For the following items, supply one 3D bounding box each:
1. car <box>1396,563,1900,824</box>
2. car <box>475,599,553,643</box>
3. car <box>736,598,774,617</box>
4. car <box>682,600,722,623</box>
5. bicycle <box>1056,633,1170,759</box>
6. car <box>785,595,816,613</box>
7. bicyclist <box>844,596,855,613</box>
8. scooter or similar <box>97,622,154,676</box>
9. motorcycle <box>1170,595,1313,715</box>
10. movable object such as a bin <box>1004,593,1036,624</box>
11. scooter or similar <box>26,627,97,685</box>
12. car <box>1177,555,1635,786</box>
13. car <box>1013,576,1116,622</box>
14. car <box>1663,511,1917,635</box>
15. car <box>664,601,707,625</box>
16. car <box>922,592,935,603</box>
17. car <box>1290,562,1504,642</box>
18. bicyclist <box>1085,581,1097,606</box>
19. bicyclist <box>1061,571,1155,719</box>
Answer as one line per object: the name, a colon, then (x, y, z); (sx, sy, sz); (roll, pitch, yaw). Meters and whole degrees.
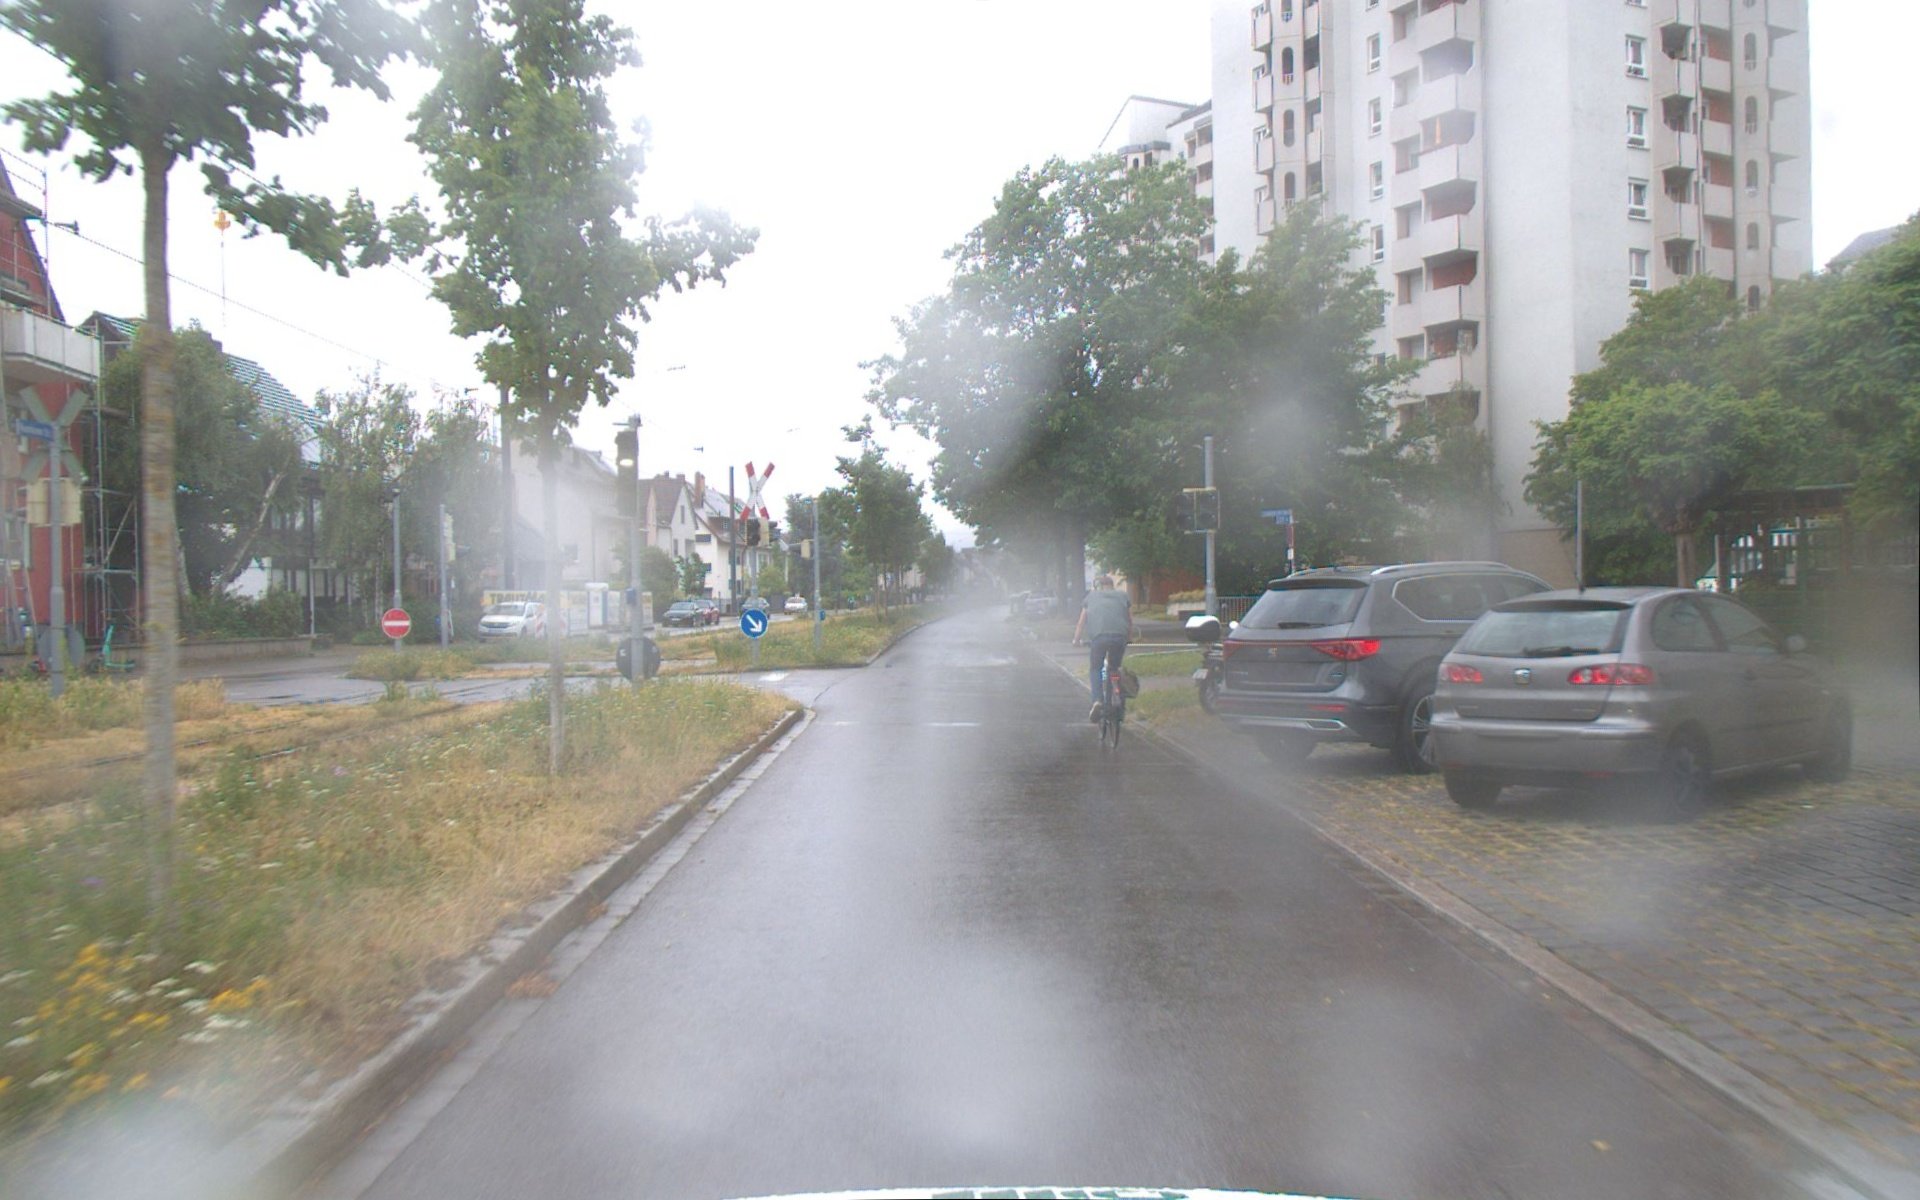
car: (4.922, 0.524, 11.586); (3.966, 1.453, 1.708); (-2, 1, -42)
car: (-17.198, 0.790, 64.020); (1.674, 1.569, 4.423); (1, 0, 2)
car: (-14.773, 0.540, 119.316); (1.857, 1.266, 4.690); (1, 0, 4)
car: (-15.371, 0.681, 98.595); (1.640, 1.266, 3.856); (1, 0, 2)
bicycle: (1.534, 0.942, 17.047); (0.793, 1.116, 2.516); (-2, 0, -3)
car: (-13.622, 0.318, 141.385); (1.857, 1.495, 4.690); (1, 0, 4)
bicyclist: (-11.821, 0.462, 176.763); (0.997, 1.715, 1.092); (-2, 0, 1)
scooter or similar: (-19.211, 1.118, 38.092); (0.385, 1.201, 1.284); (-1, 0, 15)
motorcycle: (3.503, 0.663, 20.513); (1.761, 1.360, 0.680); (-3, 1, -37)
movable object such as a bin: (3.125, 0.424, 86.841); (1.109, 1.482, 1.393); (-7, 2, -20)
scooter or similar: (-18.998, 1.174, 34.991); (0.432, 1.149, 1.280); (-1, 0, 30)
car: (4.039, 0.504, 14.582); (4.313, 1.680, 1.830); (-2, 1, -42)
car: (4.645, -0.056, 73.505); (4.095, 1.748, 1.979); (-5, 2, -31)
car: (21.536, -0.721, 42.951); (5.956, 3.015, 2.122); (-1, 0, -15)
car: (-15.446, 0.736, 93.330); (1.629, 1.266, 4.072); (1, 0, 1)
car: (-4.939, -0.356, 260.046); (1.805, 1.701, 4.001); (-2, 0, 1)
car: (10.710, 0.033, 40.610); (4.723, 1.776, 1.992); (-1, 0, -15)
bicyclist: (8.502, -0.408, 107.410); (0.719, 1.621, 0.945); (-2, 0, 1)
bicyclist: (1.514, 0.447, 17.088); (0.793, 1.458, 1.059); (-2, 0, -3)
